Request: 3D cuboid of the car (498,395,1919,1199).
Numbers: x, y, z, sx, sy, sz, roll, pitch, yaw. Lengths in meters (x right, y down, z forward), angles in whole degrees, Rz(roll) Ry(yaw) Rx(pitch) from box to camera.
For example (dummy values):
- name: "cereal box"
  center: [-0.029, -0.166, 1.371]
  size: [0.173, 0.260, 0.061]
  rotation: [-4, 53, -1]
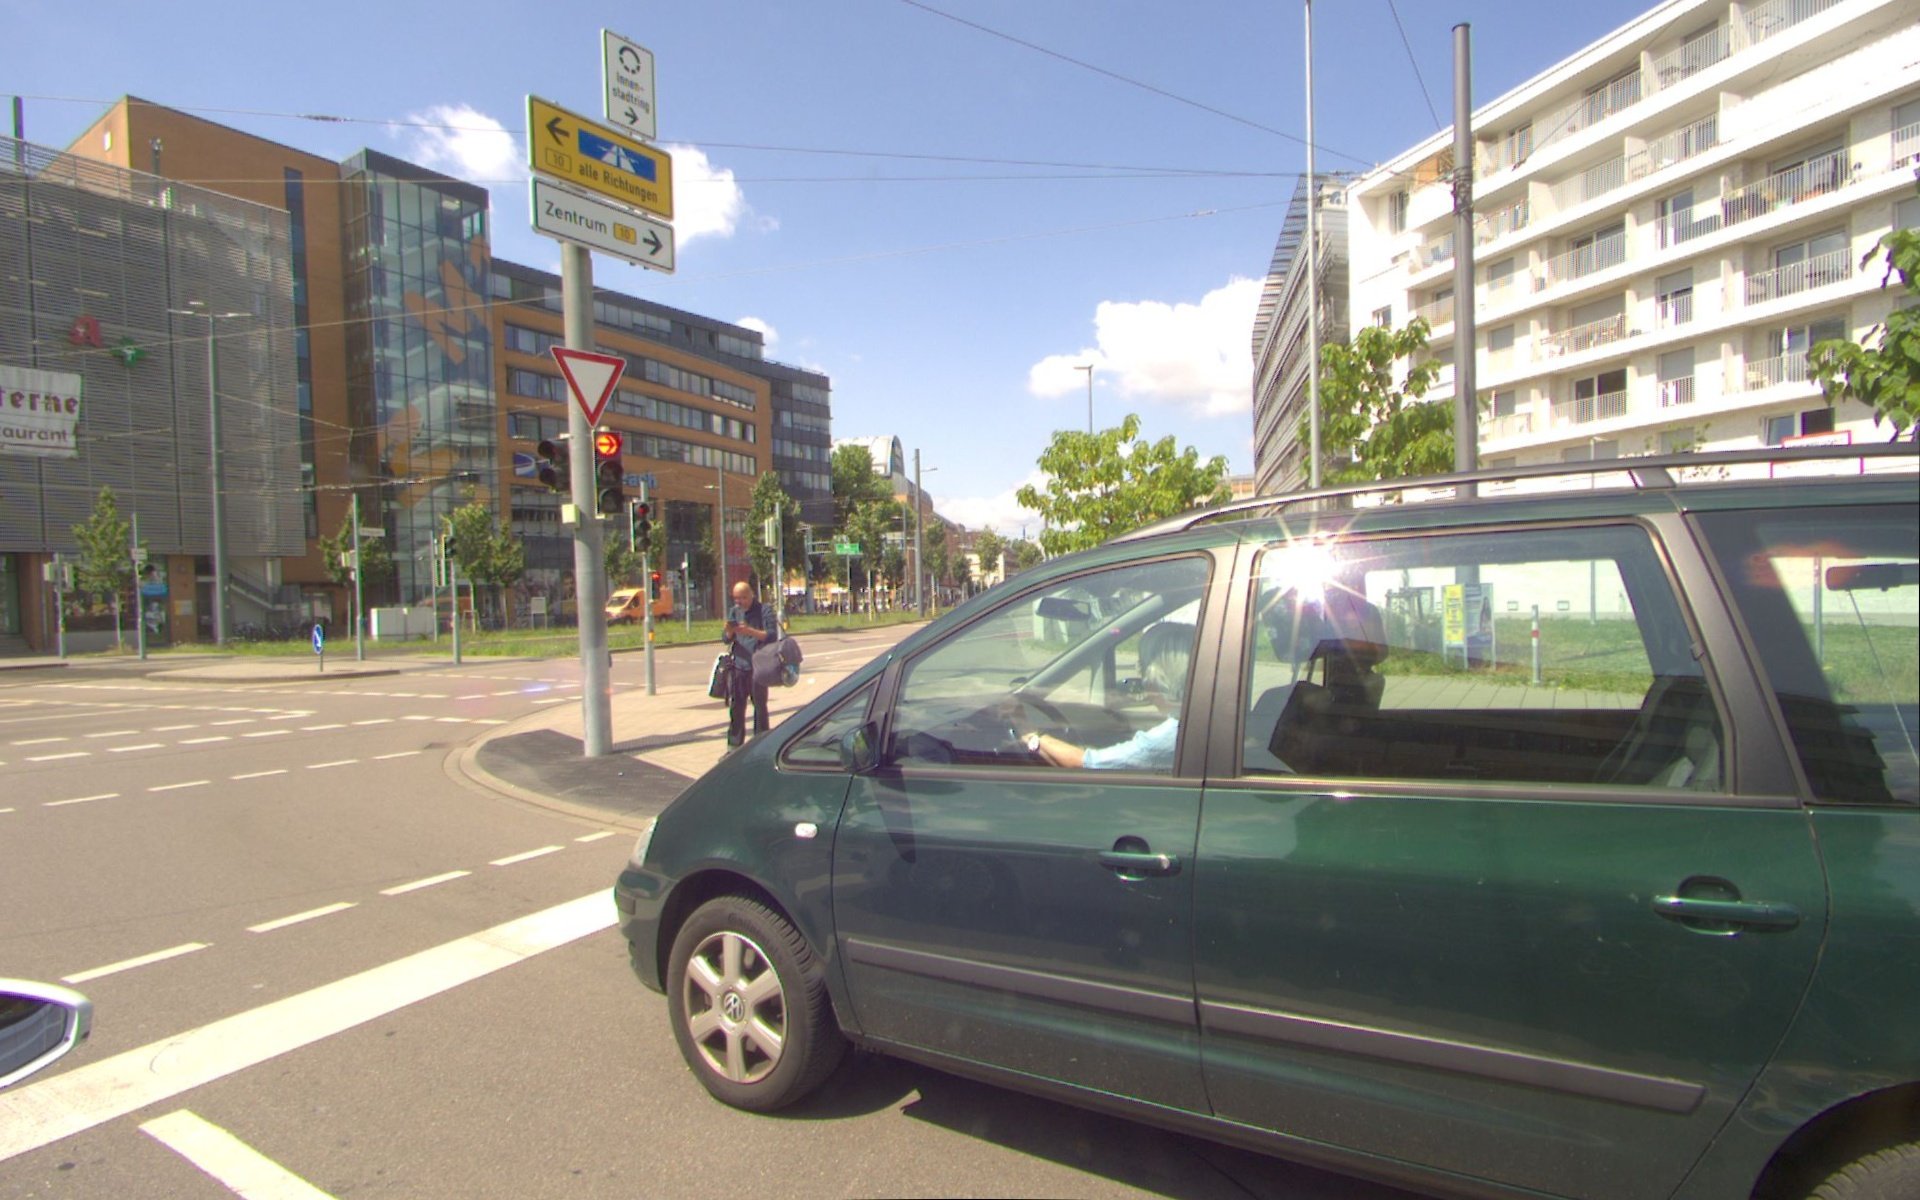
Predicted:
- name: "car"
  center: [0.965, 0.601, 2.957]
  size: [4.959, 1.779, 1.815]
  rotation: [-1, -1, 32]

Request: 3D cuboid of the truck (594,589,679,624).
- name: "truck"
  center: [-20.408, 0.422, 63.497]
  size: [1.967, 2.113, 5.507]
  rotation: [0, -1, 24]

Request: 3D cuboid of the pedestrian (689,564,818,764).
- name: "pedestrian"
  center: [-1.864, 0.562, 9.167]
  size: [0.901, 1.725, 0.808]
  rotation: [-2, 1, 5]

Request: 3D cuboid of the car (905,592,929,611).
- name: "car"
  center: [-4.680, 0.173, 108.748]
  size: [1.961, 2.040, 3.999]
  rotation: [-1, 0, 6]
